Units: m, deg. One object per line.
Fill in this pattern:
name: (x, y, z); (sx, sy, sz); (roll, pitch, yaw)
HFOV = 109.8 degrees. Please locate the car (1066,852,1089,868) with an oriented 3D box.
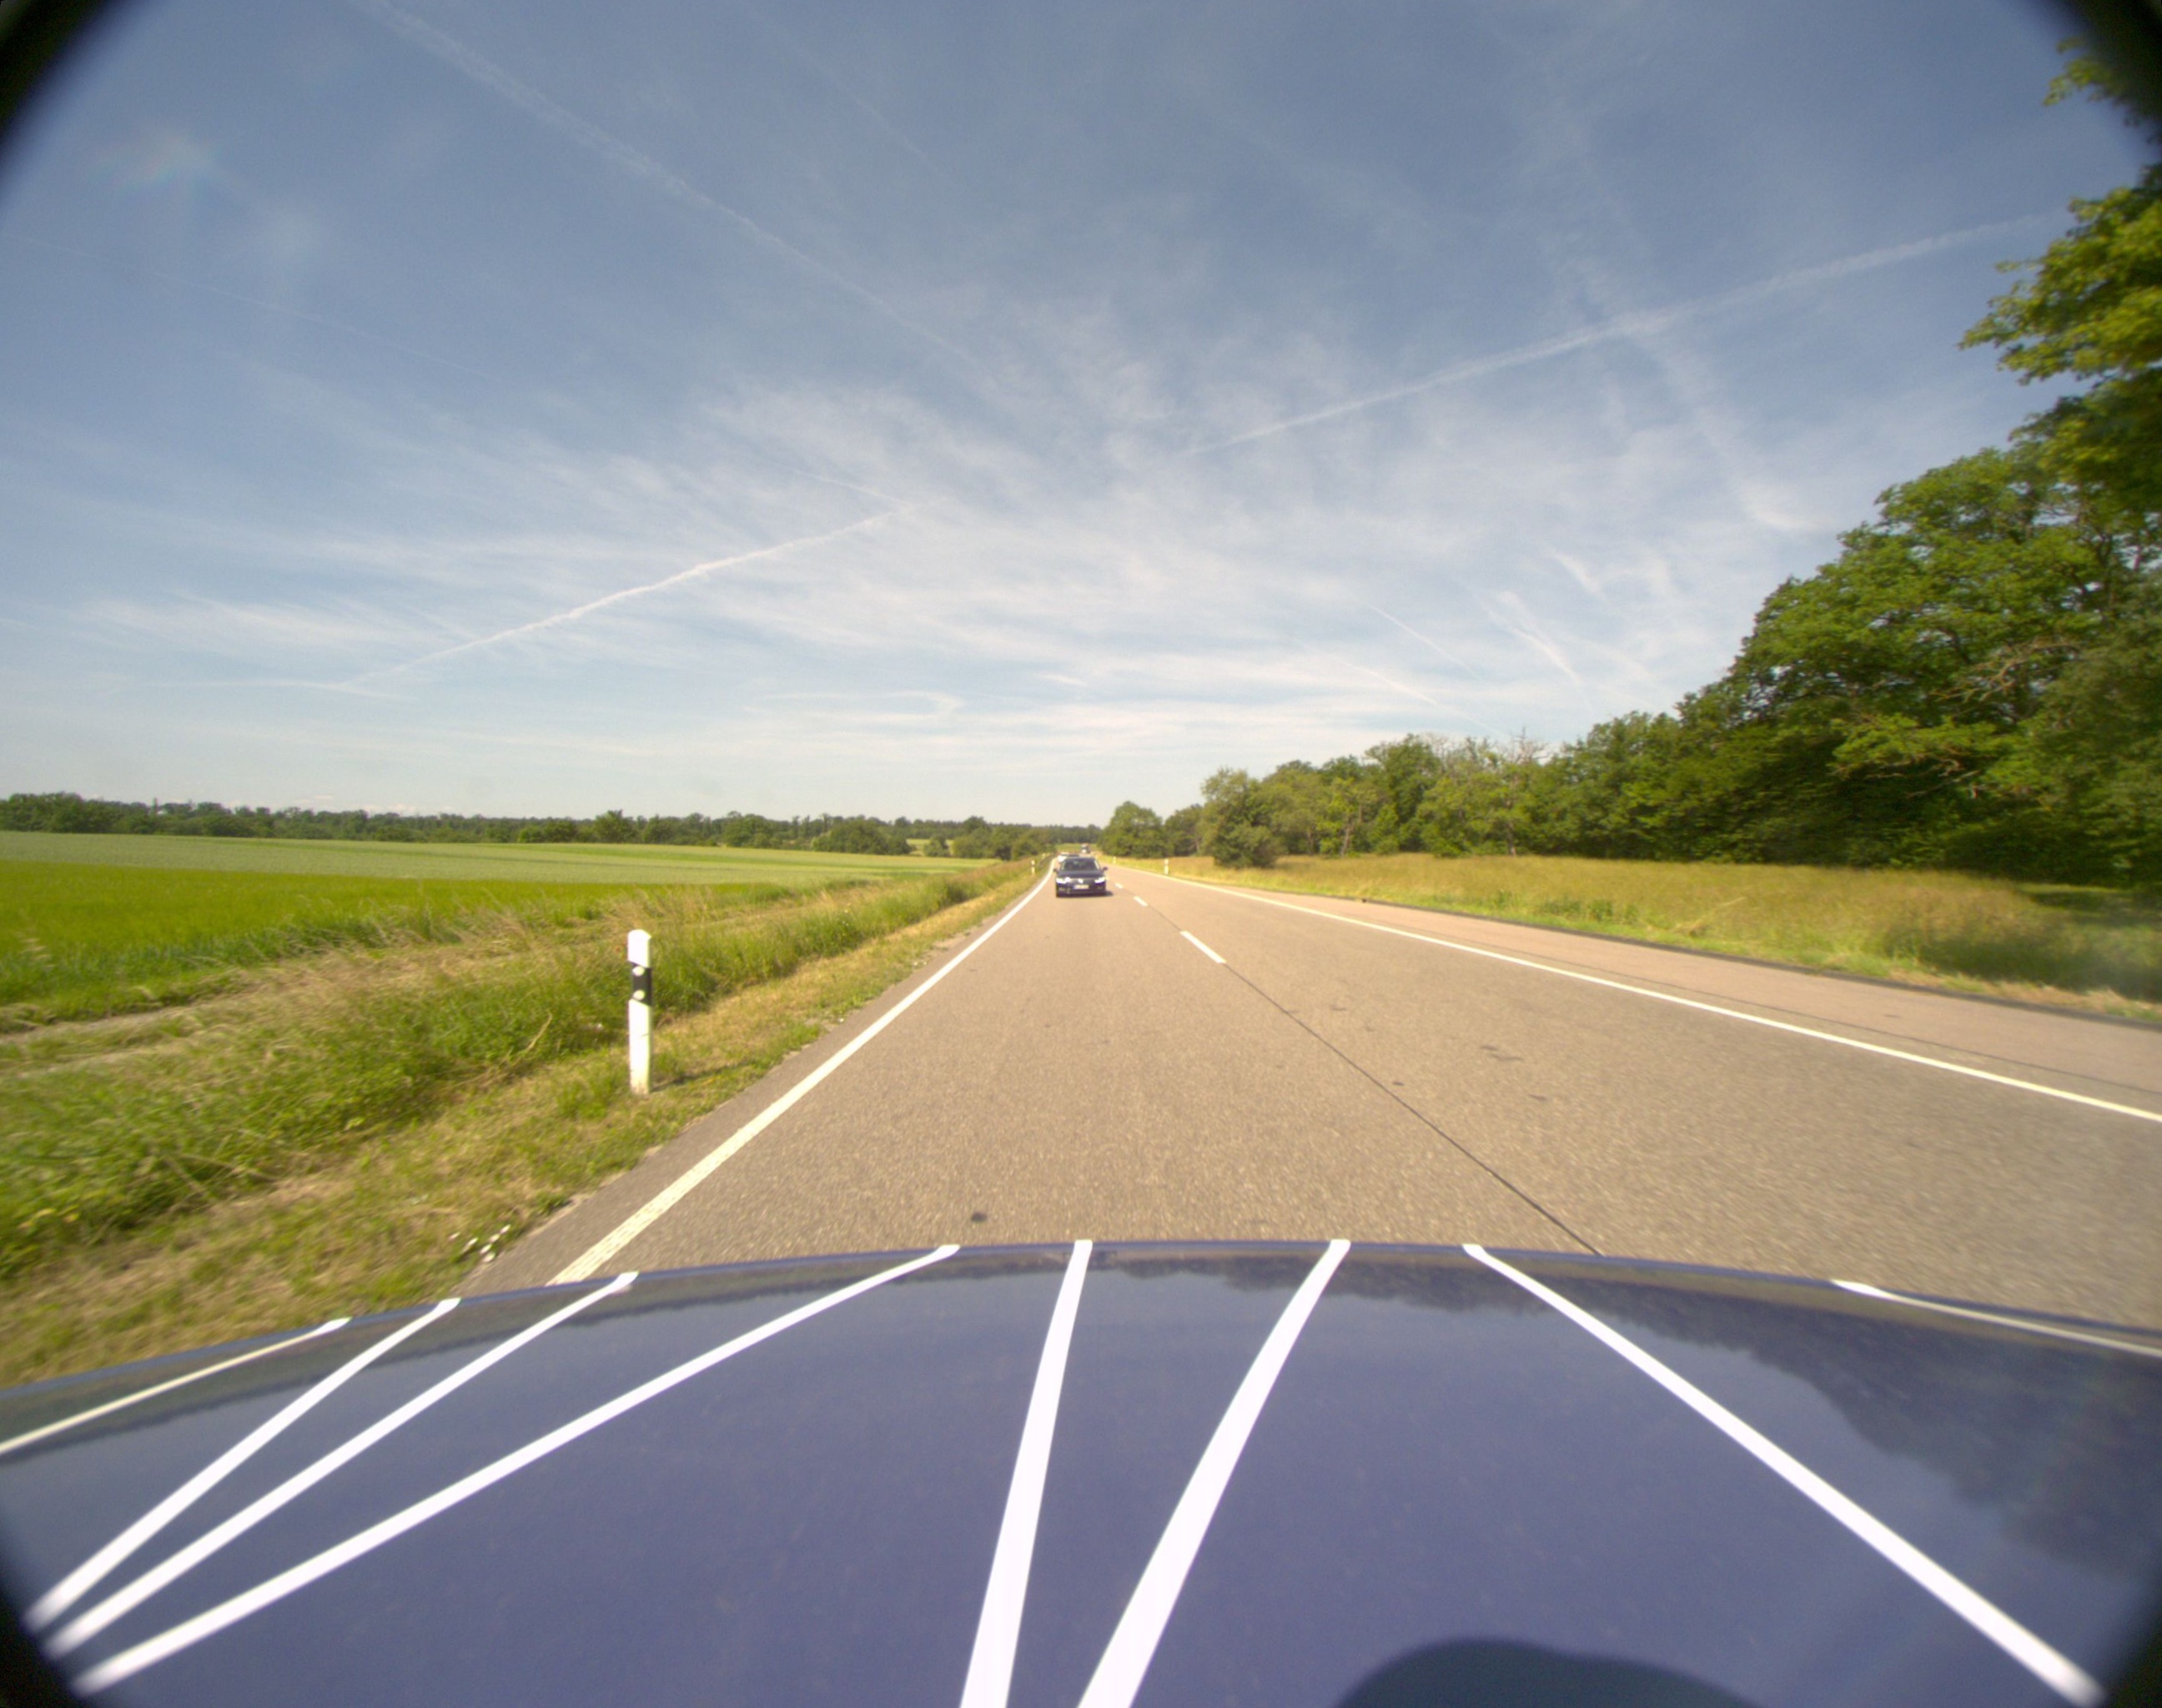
car: (-0.363, 0.536, 73.172); (1.929, 1.501, 4.290); (-1, 0, -4)

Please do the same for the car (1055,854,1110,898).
car: (-0.022, 0.766, 29.059); (1.822, 1.501, 4.499); (-2, 0, -3)

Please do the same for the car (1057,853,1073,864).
car: (-2.225, 0.620, 103.409); (1.929, 1.501, 4.290); (0, 0, -4)
